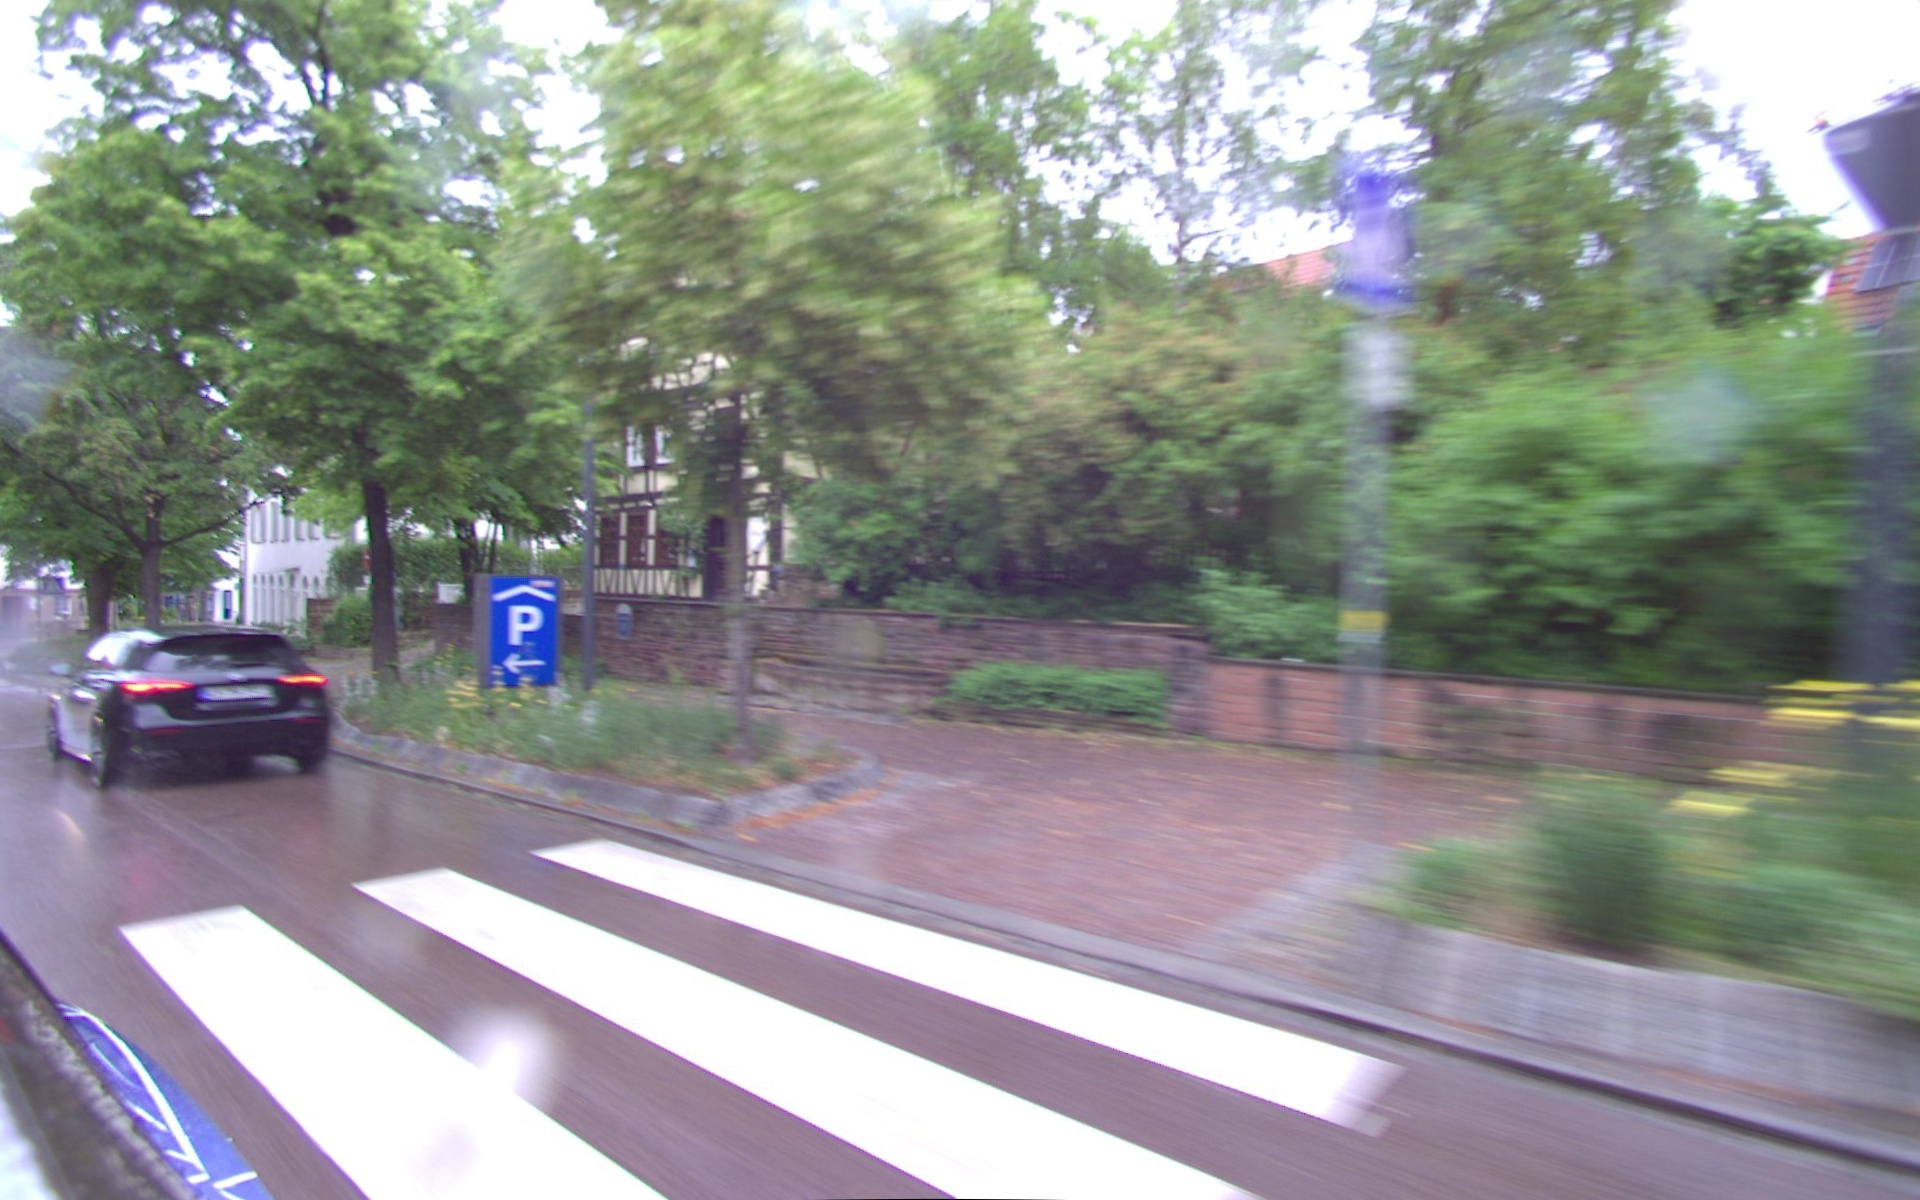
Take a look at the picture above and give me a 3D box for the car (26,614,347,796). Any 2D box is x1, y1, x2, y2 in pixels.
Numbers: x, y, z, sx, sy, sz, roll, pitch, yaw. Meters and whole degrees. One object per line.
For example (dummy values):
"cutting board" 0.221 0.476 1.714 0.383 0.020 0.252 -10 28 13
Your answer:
"car" -8.042 0.904 10.358 4.408 1.395 1.835 -2 1 43
